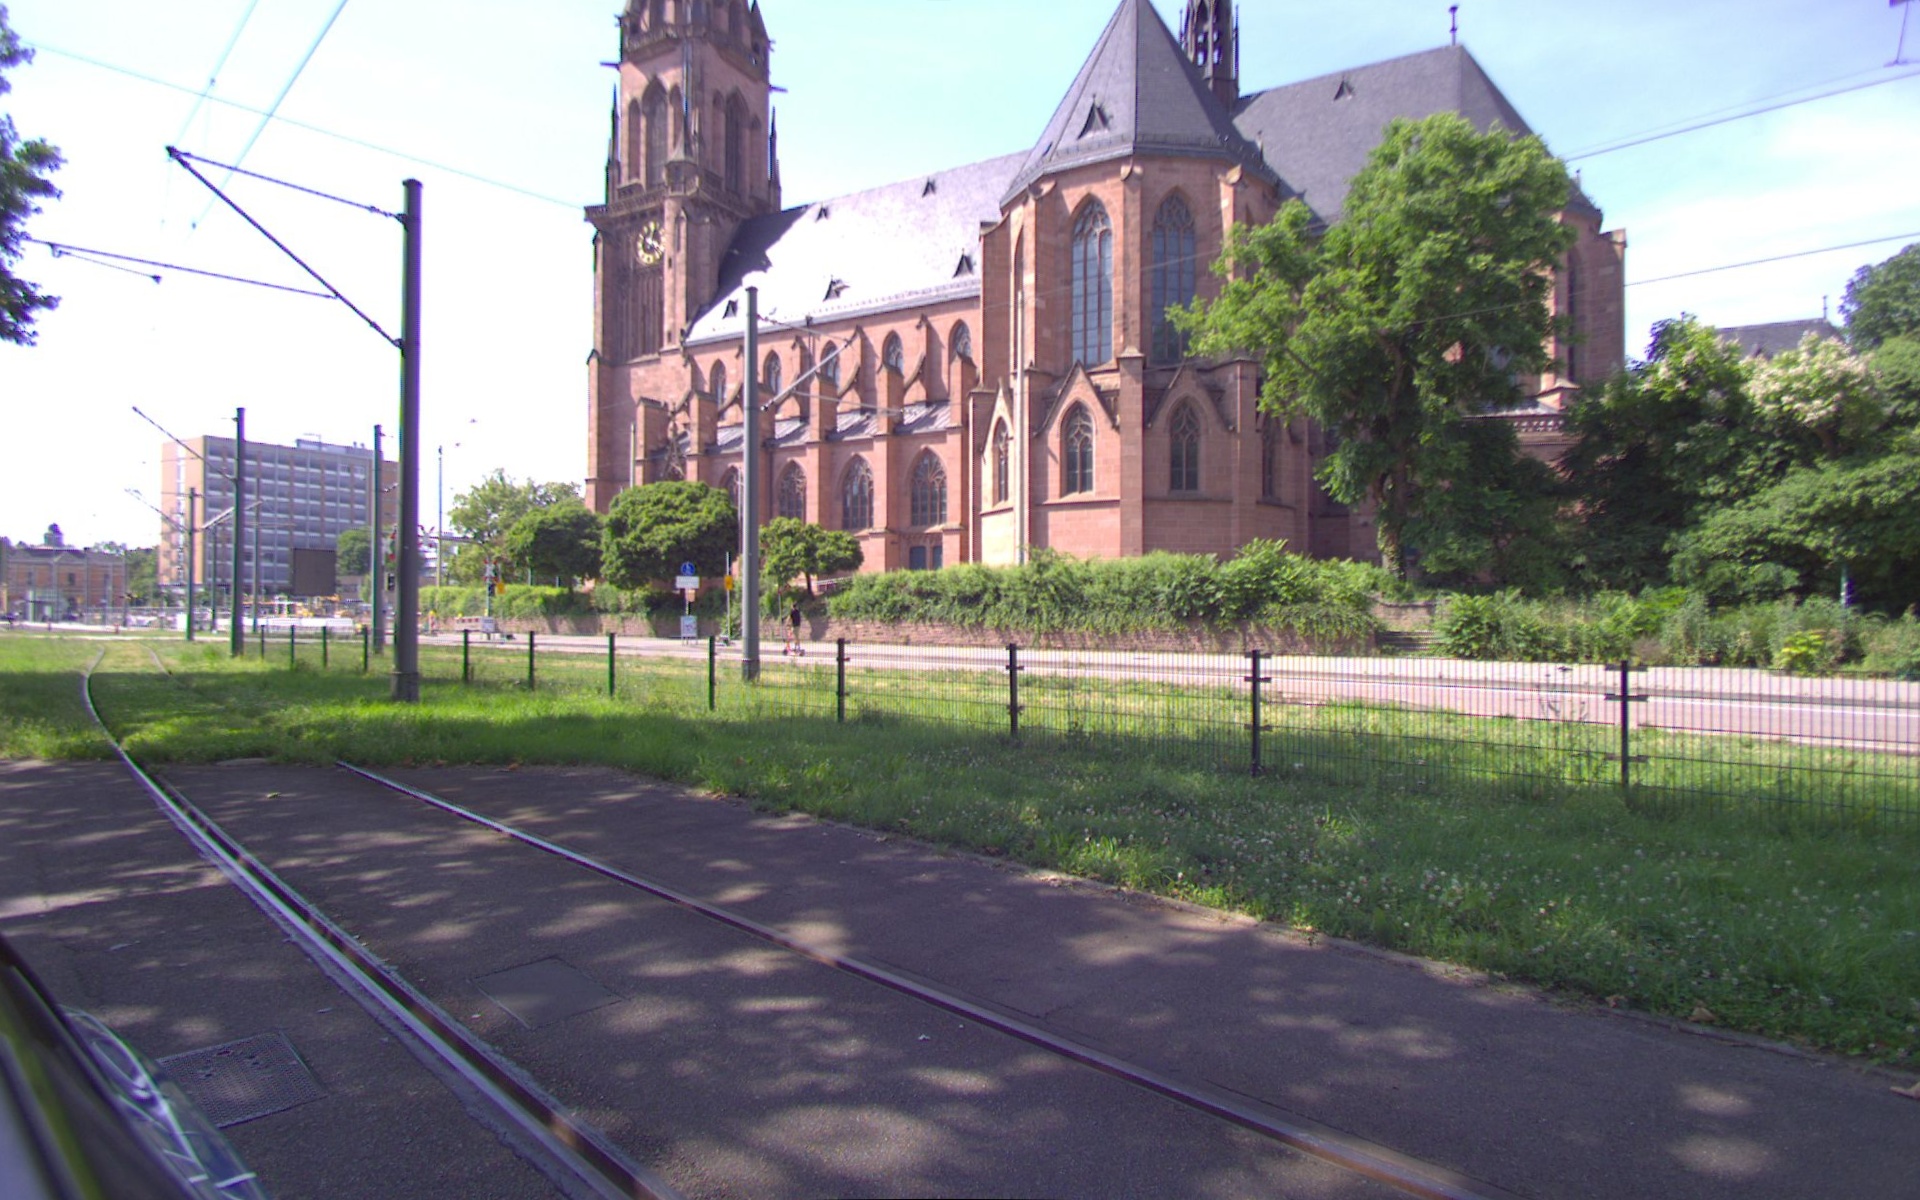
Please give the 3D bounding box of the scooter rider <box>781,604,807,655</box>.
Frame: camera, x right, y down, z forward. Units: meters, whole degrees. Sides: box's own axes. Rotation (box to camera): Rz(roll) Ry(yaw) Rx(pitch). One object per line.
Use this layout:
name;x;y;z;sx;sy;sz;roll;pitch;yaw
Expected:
scooter rider;-6.159;1.090;37.539;0.661;1.881;0.662;-1;-1;30

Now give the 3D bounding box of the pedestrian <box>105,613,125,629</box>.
pedestrian;-94.927;2.384;113.679;1.420;1.820;1.409;-1;-1;37

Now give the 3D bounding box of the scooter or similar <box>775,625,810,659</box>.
scooter or similar;-6.193;1.552;37.480;0.654;1.213;1.258;-1;-1;29

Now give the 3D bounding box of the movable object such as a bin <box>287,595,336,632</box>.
movable object such as a bin;-68.913;1.429;107.578;2.905;3.911;3.327;0;-1;8

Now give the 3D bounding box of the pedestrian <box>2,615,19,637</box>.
pedestrian;-72.555;1.963;77.302;0.758;1.666;0.849;-1;-1;41
